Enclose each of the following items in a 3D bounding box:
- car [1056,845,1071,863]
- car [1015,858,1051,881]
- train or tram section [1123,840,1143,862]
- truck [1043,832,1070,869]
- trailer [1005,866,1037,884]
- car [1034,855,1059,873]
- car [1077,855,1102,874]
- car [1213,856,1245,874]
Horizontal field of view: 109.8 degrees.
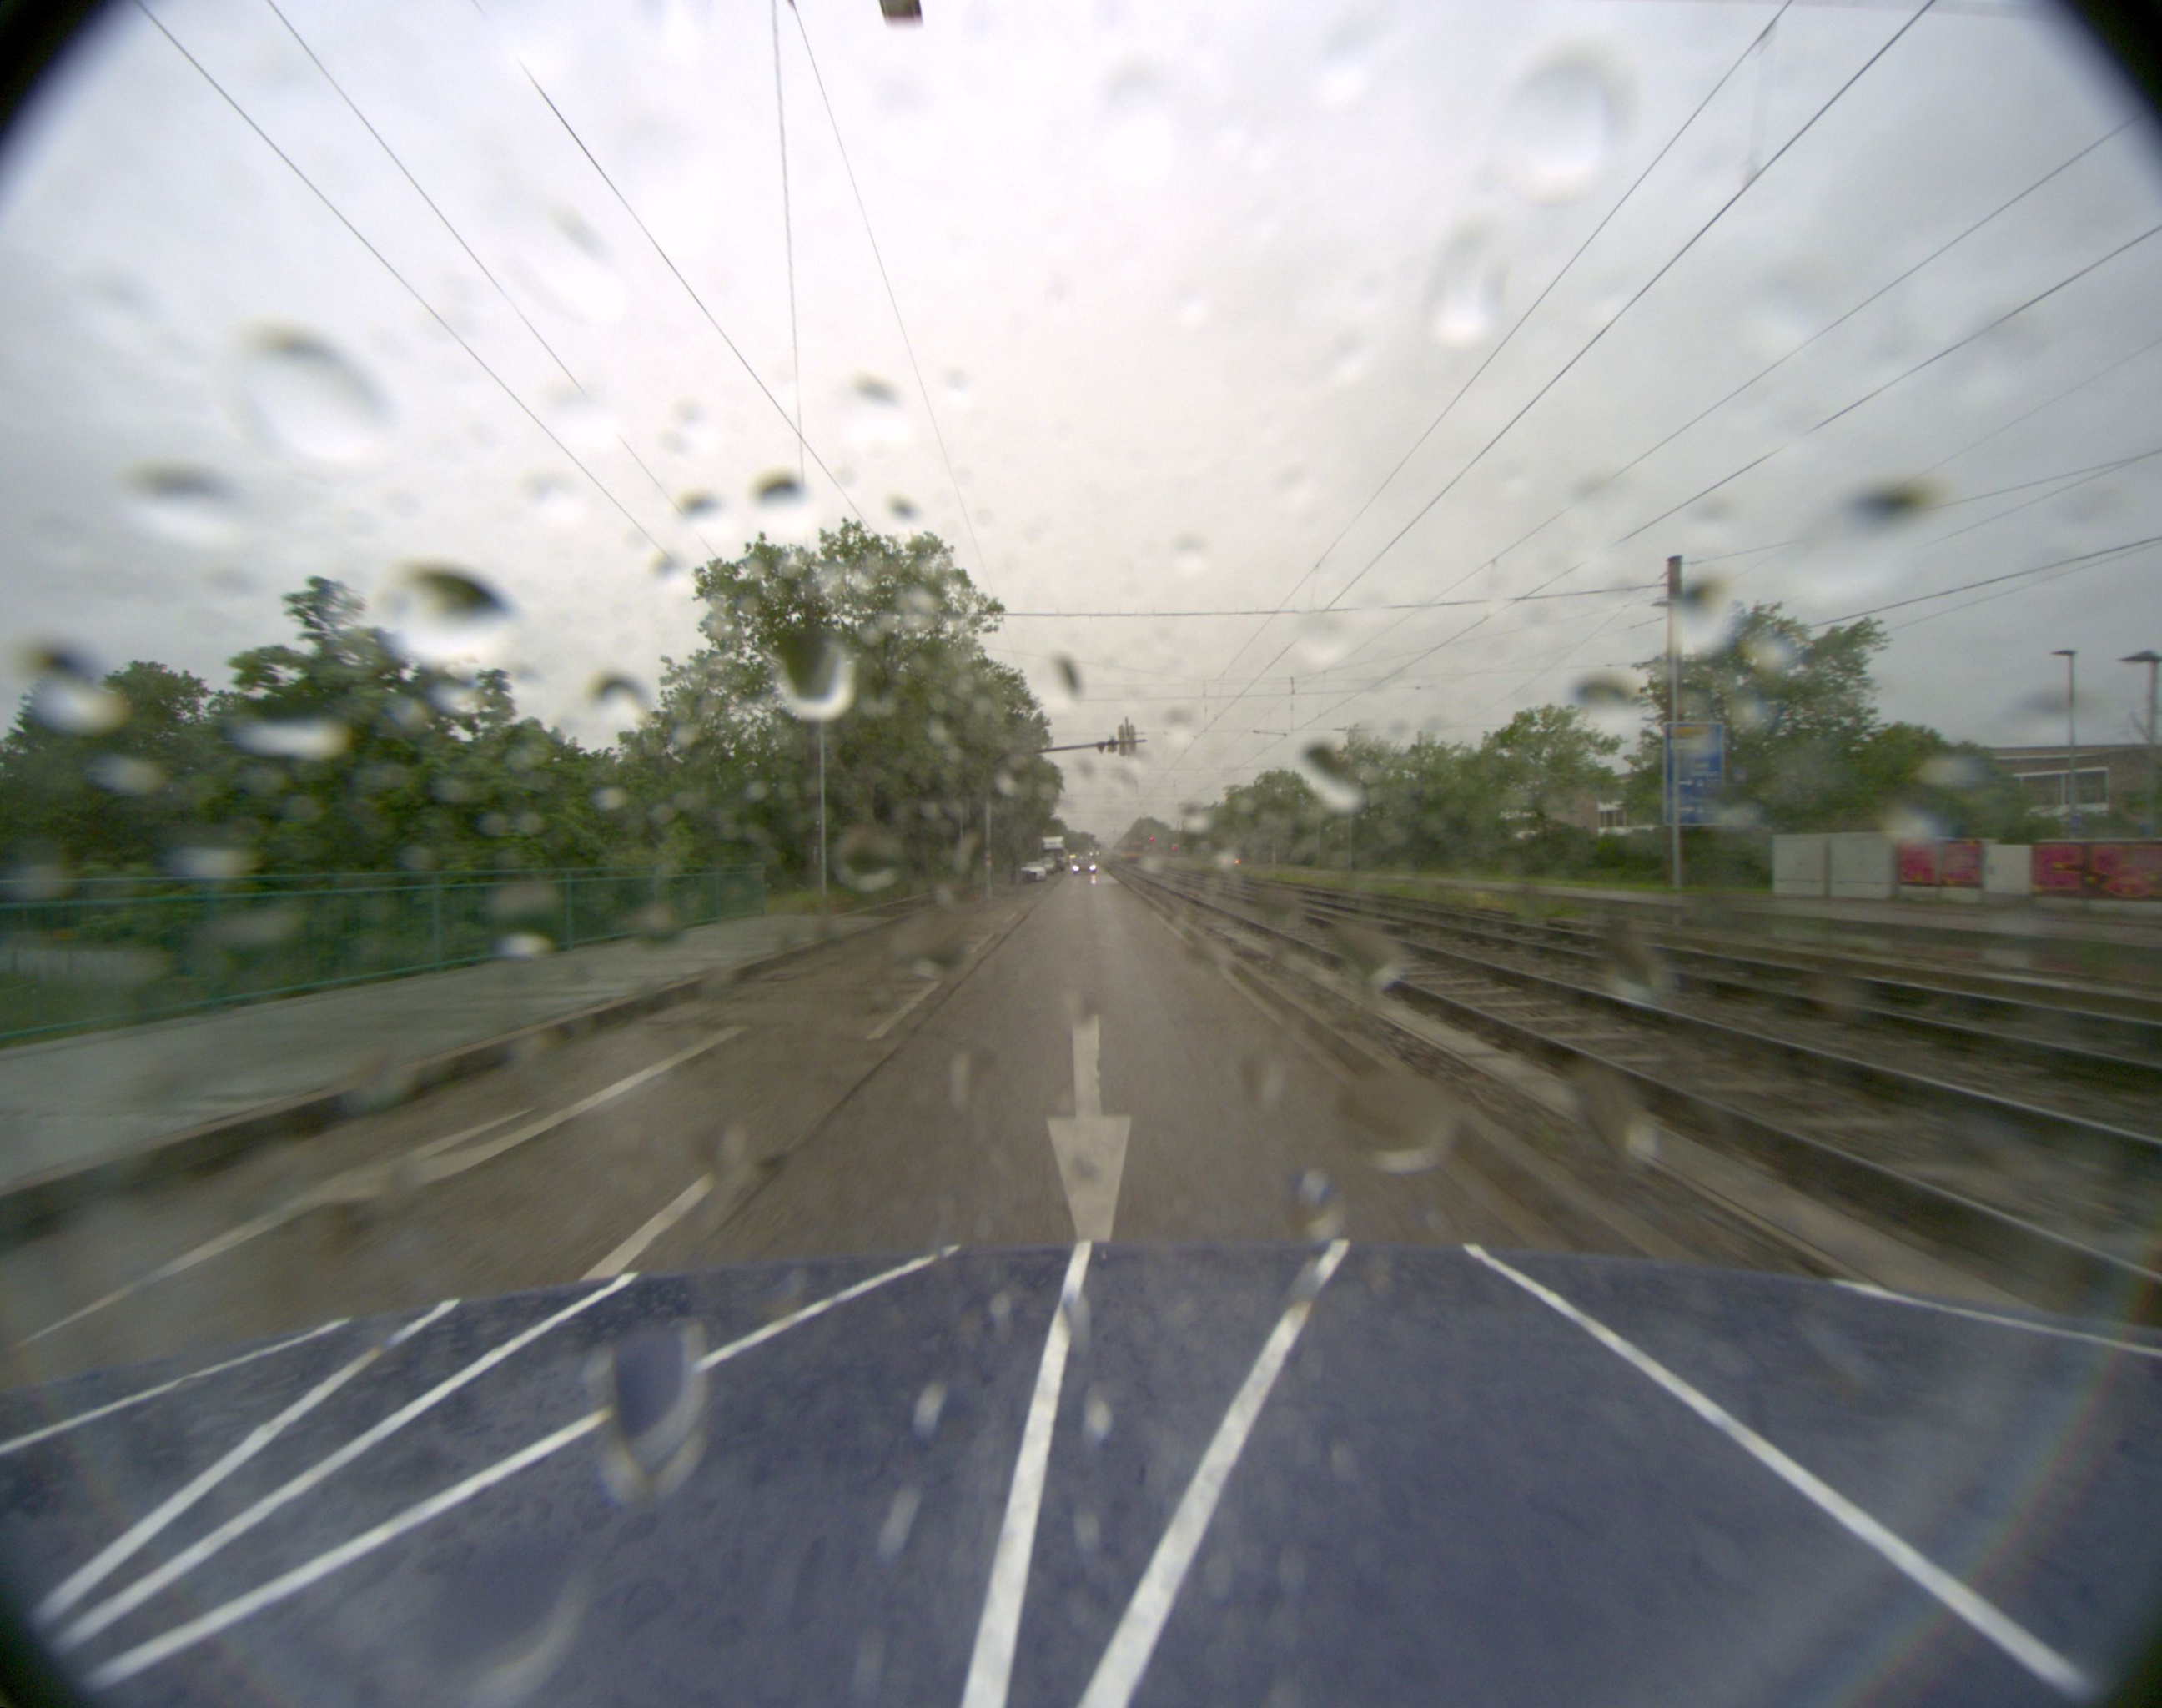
[{"bbox_3d":[-2.693,-0.009,117.355,1.998,2.661,4.197,-2,0,1],"label":"car"},{"bbox_3d":[-3.155,1.004,50.637,1.998,1.394,4.197,-2,-1,1],"label":"car"},{"bbox_3d":[9.282,-0.572,136.535,2.460,3.603,15.105,-2,1,1],"label":"train or tram section"},{"bbox_3d":[-2.729,-0.342,86.625,2.567,3.847,7.846,-2,-1,1],"label":"truck"},{"bbox_3d":[-3.549,1.245,45.219,1.546,0.931,3.276,-2,-1,1],"label":"trailer"},{"bbox_3d":[-3.194,0.918,70.455,1.998,1.497,4.197,-2,-1,1],"label":"car"},{"bbox_3d":[0.756,0.895,65.700,1.998,1.497,4.197,-2,-1,1],"label":"car"},{"bbox_3d":[14.146,1.047,73.056,1.999,1.514,4.956,-3,1,0],"label":"car"}]
